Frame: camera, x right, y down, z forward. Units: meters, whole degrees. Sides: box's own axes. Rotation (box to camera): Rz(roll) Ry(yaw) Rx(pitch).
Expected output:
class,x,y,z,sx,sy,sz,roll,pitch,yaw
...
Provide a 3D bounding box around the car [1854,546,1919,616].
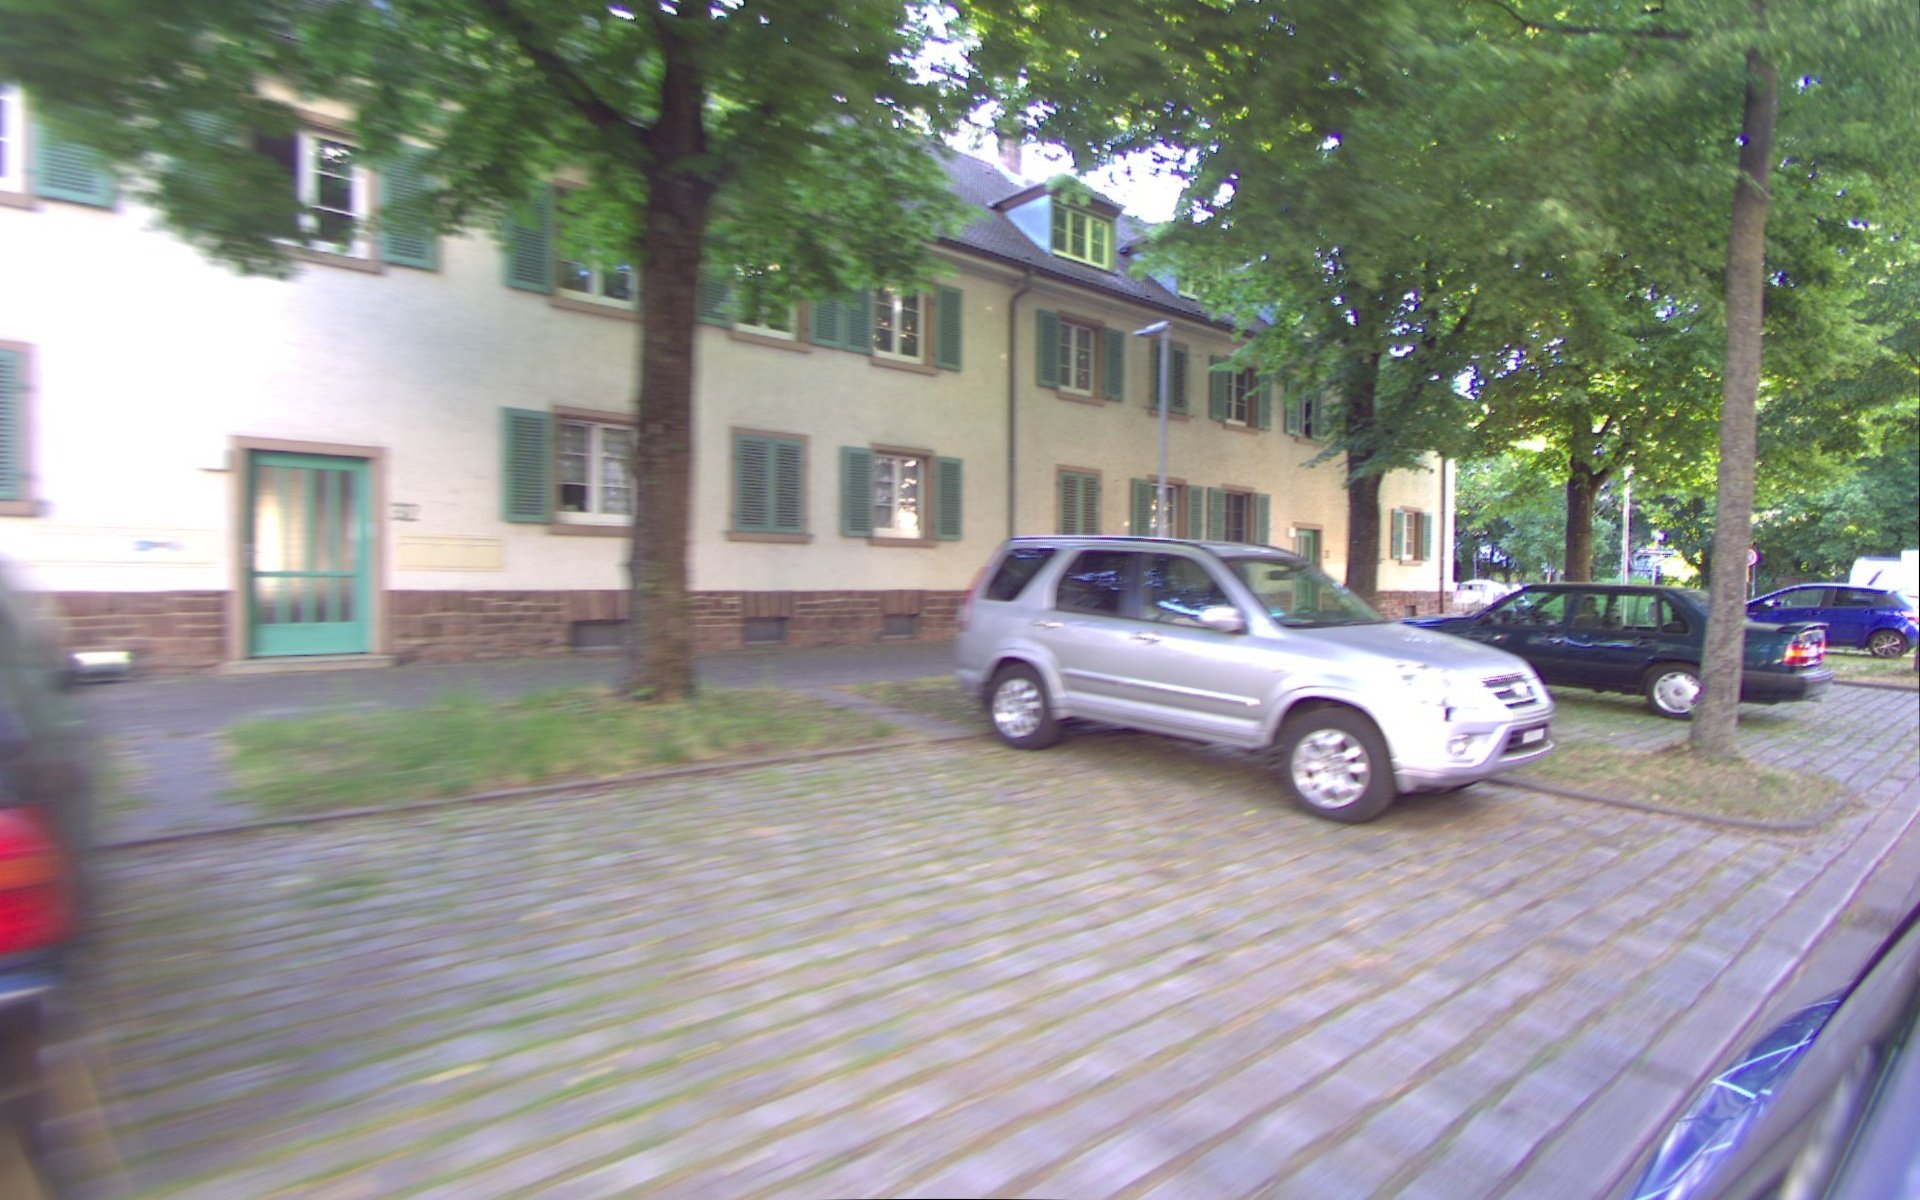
class,x,y,z,sx,sy,sz,roll,pitch,yaw
car,37.942,-0.731,38.543,2.201,2.646,5.622,-2,3,-41

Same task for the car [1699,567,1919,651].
class,x,y,z,sx,sy,sz,roll,pitch,yaw
car,18.924,0.116,22.256,1.966,1.574,3.994,-2,4,-42

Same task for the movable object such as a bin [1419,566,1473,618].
class,x,y,z,sx,sy,sz,roll,pitch,yaw
movable object such as a bin,17.623,-0.310,36.738,1.129,1.850,1.387,-1,2,-33

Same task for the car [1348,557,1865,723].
class,x,y,z,sx,sy,sz,roll,pitch,yaw
car,7.499,0.284,12.225,1.909,1.459,4.903,-2,5,-42

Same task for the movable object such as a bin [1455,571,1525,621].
class,x,y,z,sx,sy,sz,roll,pitch,yaw
movable object such as a bin,18.557,-0.157,35.458,1.561,1.678,1.641,-2,2,-33

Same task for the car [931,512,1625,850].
class,x,y,z,sx,sy,sz,roll,pitch,yaw
car,1.985,0.274,7.468,1.909,1.690,4.485,0,4,-42

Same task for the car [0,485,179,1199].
class,x,y,z,sx,sy,sz,roll,pitch,yaw
car,-3.229,0.490,2.596,1.721,1.490,3.508,-2,4,-41
